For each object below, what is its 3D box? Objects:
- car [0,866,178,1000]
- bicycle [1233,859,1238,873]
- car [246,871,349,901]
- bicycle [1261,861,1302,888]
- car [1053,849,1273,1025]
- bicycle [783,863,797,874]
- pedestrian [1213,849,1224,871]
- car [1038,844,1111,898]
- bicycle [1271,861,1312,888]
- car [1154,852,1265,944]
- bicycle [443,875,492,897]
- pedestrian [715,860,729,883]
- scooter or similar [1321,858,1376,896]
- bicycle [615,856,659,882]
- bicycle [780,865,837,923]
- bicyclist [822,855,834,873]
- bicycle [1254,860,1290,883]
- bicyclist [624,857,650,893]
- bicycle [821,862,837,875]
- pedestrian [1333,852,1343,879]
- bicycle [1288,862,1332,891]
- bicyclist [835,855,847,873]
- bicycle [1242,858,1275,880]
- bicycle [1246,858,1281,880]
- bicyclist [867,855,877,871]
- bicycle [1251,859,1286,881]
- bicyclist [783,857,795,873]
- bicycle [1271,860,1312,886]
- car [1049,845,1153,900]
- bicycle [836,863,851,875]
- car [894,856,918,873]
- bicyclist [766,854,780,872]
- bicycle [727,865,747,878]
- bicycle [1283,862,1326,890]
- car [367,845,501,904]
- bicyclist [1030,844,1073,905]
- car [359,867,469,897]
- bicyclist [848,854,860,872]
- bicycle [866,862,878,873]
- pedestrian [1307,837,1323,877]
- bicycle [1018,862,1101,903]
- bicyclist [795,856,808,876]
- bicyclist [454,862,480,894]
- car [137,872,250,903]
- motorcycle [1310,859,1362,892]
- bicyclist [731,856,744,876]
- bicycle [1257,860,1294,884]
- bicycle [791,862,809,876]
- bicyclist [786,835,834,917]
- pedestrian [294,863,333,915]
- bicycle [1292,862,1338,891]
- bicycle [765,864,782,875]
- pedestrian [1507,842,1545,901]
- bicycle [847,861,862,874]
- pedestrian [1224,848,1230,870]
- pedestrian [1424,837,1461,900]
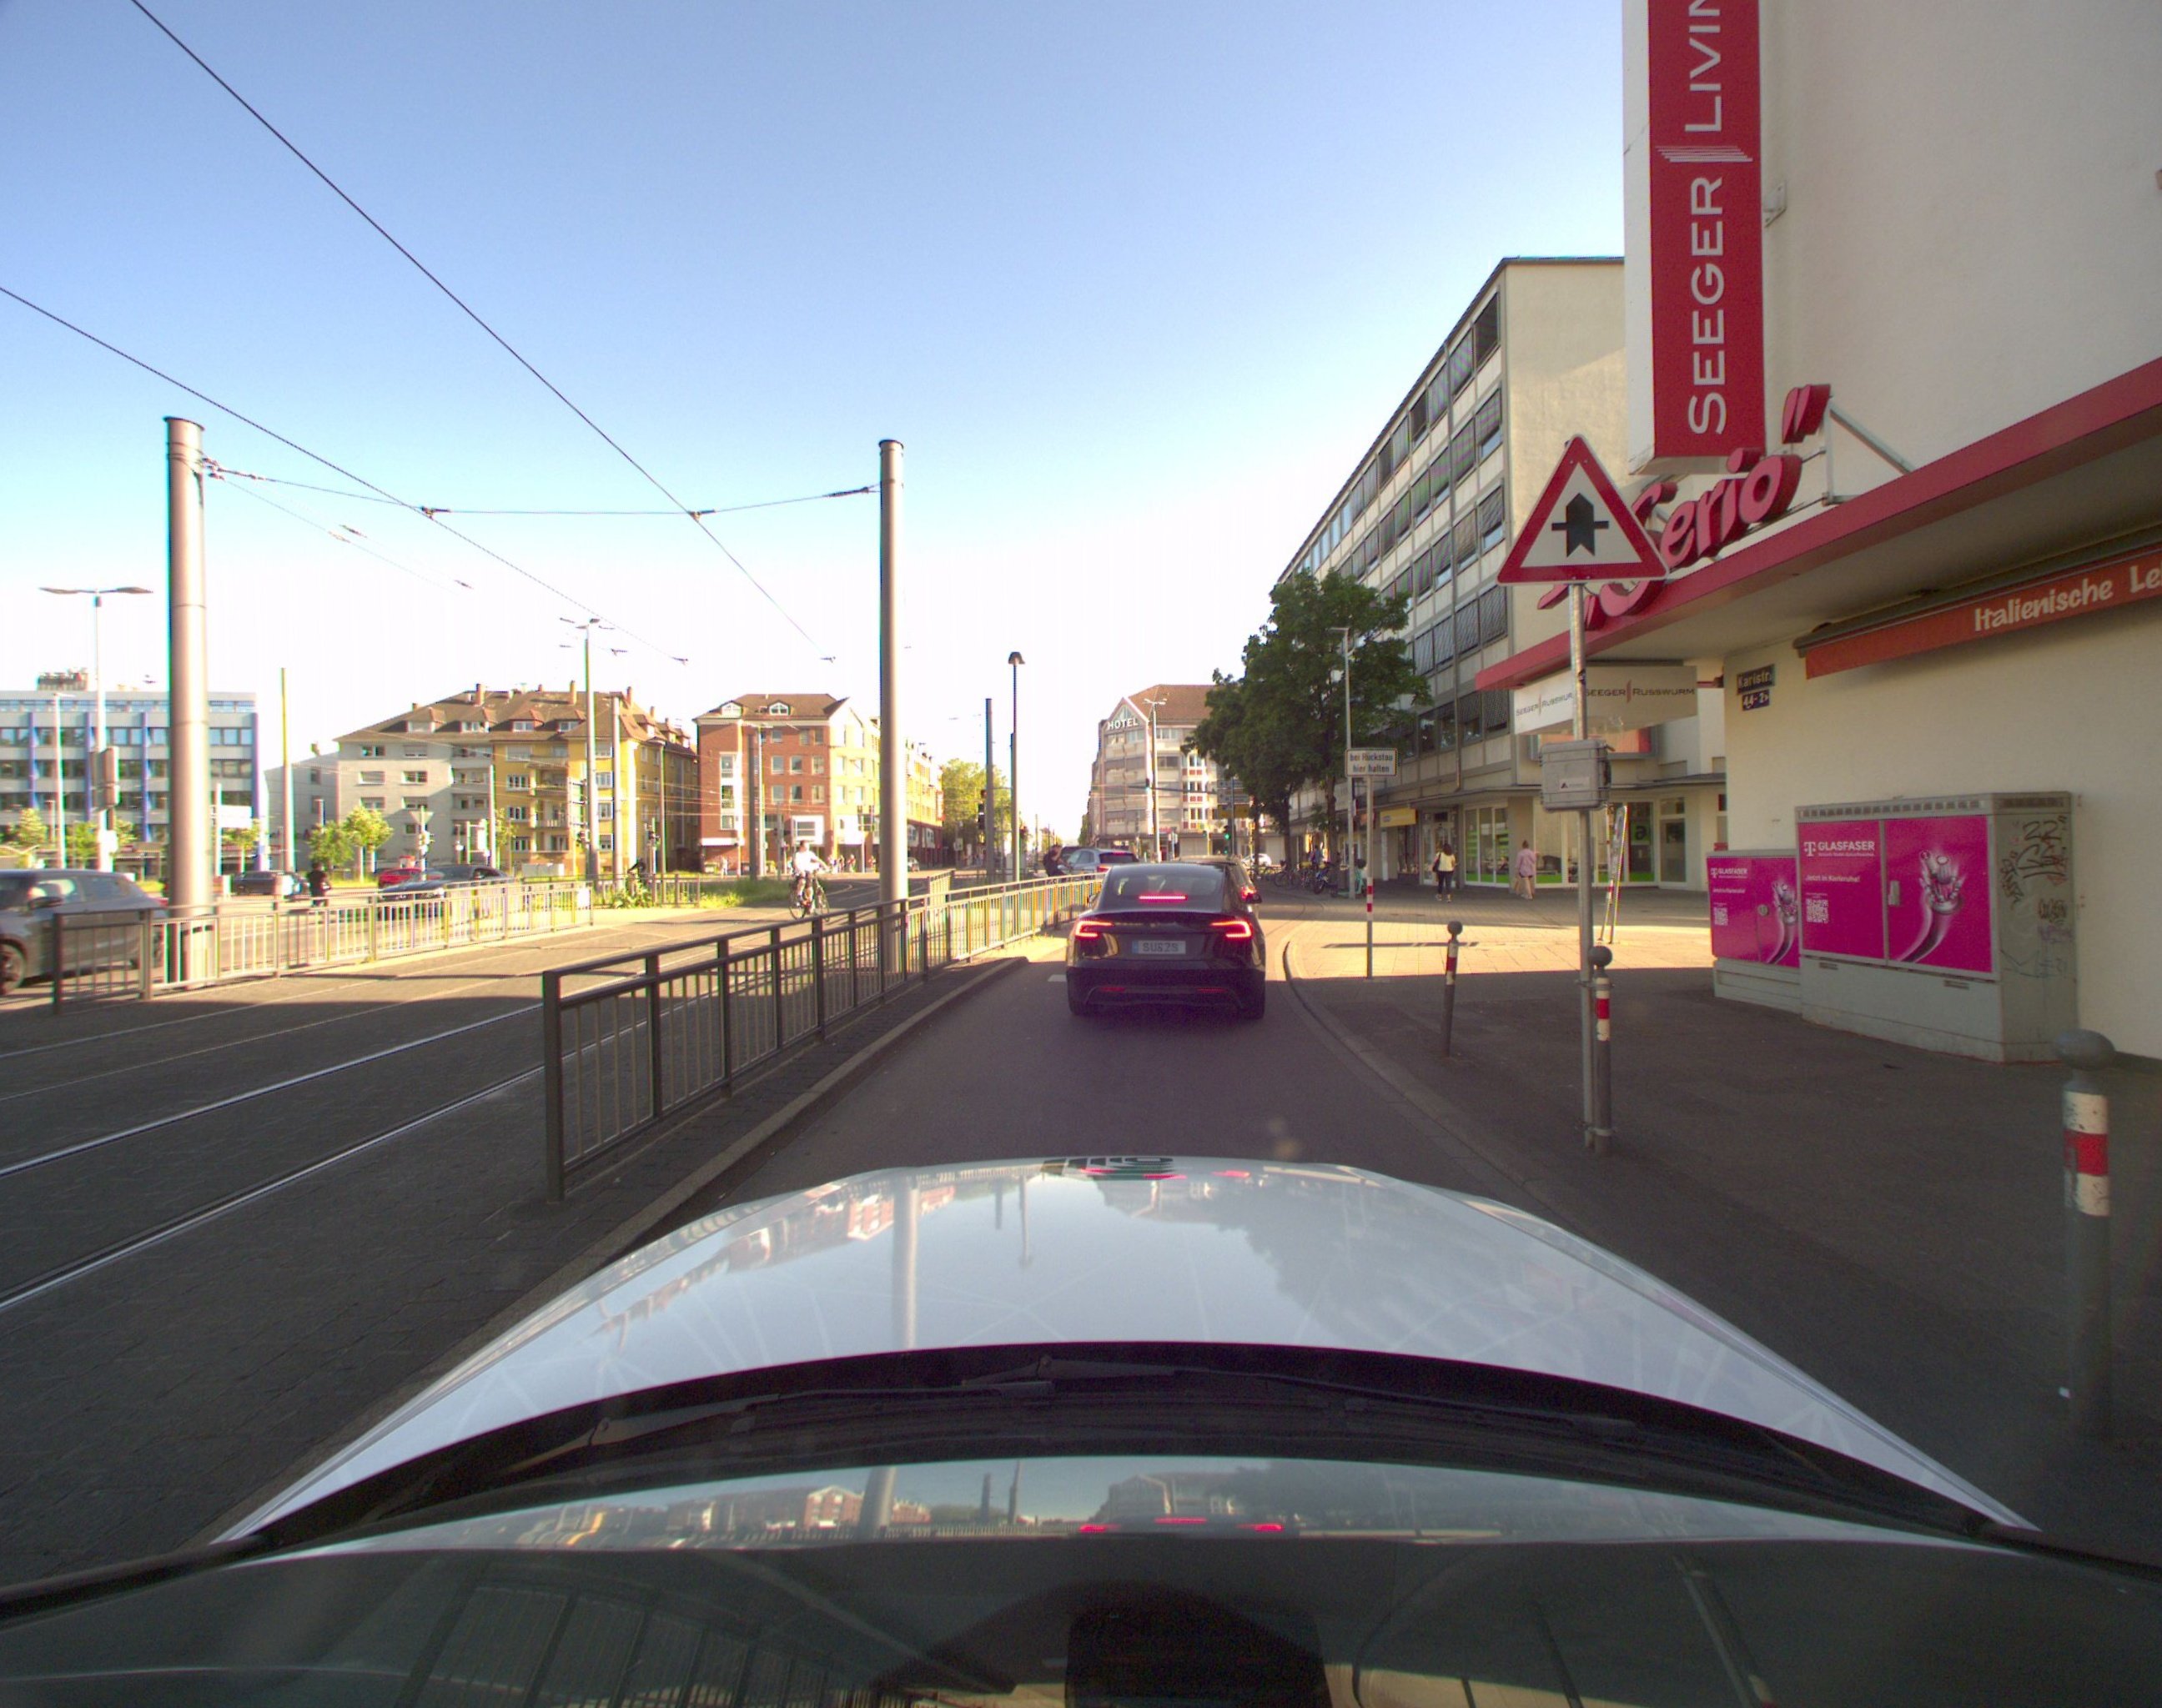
[{"bbox_3d":[-13.634,0.925,10.203,1.647,1.526,3.835,0,-1,-24],"label":"car"},{"bbox_3d":[11.939,0.907,63.056,0.330,1.034,1.259,-1,-1,7],"label":"bicycle"},{"bbox_3d":[-45.500,1.839,47.383,3.984,1.672,1.772,0,-1,-8],"label":"car"},{"bbox_3d":[8.425,0.851,34.198,1.649,1.099,0.349,0,-1,-9],"label":"bicycle"},{"bbox_3d":[0.914,0.705,8.795,1.820,1.455,4.007,0,-1,7],"label":"car"},{"bbox_3d":[-26.838,1.359,75.084,0.402,0.981,1.699,-1,-1,10],"label":"bicycle"},{"bbox_3d":[10.691,0.472,63.290,0.697,1.662,0.777,0,-1,1],"label":"pedestrian"},{"bbox_3d":[-0.323,0.663,32.745,1.997,2.014,3.980,-1,0,-15],"label":"car"},{"bbox_3d":[8.612,0.844,33.331,1.649,1.099,0.349,0,-1,-9],"label":"bicycle"},{"bbox_3d":[2.348,0.706,15.033,1.741,1.454,4.009,-1,0,8],"label":"car"},{"bbox_3d":[-34.576,1.812,45.904,2.188,1.214,0.544,0,-1,-11],"label":"bicycle"},{"bbox_3d":[-28.659,1.387,65.000,0.780,1.820,0.747,0,-1,3],"label":"pedestrian"},{"bbox_3d":[8.894,0.760,27.110,1.625,1.215,0.649,-1,-1,32],"label":"scooter or similar"},{"bbox_3d":[-18.990,0.623,34.872,0.456,1.093,2.205,0,-1,6],"label":"bicycle"},{"bbox_3d":[-6.049,0.857,18.042,0.488,1.222,1.832,0,-1,-43],"label":"bicycle"},{"bbox_3d":[-22.351,0.898,72.059,0.780,1.563,0.747,-1,0,3],"label":"bicyclist"},{"bbox_3d":[9.200,0.838,39.249,1.643,1.099,0.350,0,-1,3],"label":"bicycle"},{"bbox_3d":[-18.994,0.904,34.839,0.782,1.527,0.589,0,-1,4],"label":"bicyclist"},{"bbox_3d":[-22.333,1.281,72.170,0.527,1.088,2.286,-1,0,4],"label":"bicycle"},{"bbox_3d":[12.769,0.572,40.473,0.388,1.343,0.513,0,-1,4],"label":"pedestrian"},{"bbox_3d":[8.812,0.862,31.373,1.649,1.061,0.349,0,-1,-9],"label":"bicycle"},{"bbox_3d":[-22.087,0.921,75.032,0.780,1.563,0.747,-1,0,3],"label":"bicyclist"},{"bbox_3d":[9.239,0.787,42.404,1.643,1.099,0.350,0,-1,3],"label":"bicycle"},{"bbox_3d":[9.258,0.757,41.309,1.643,1.099,0.350,-1,0,3],"label":"bicycle"},{"bbox_3d":[-20.602,0.906,80.211,0.780,1.563,0.747,0,-1,3],"label":"bicyclist"},{"bbox_3d":[9.275,0.794,40.262,1.643,1.099,0.350,0,-1,3],"label":"bicycle"},{"bbox_3d":[-26.867,1.013,74.952,0.699,1.471,0.975,-1,0,9],"label":"bicyclist"},{"bbox_3d":[9.113,0.828,35.269,1.643,1.099,0.350,0,-1,3],"label":"bicycle"},{"bbox_3d":[0.567,0.566,26.630,1.891,1.662,4.126,0,-1,-23],"label":"car"},{"bbox_3d":[-22.014,1.355,75.583,0.527,1.088,2.286,0,-1,4],"label":"bicycle"},{"bbox_3d":[-18.286,1.067,85.371,1.692,1.731,3.706,0,-1,0],"label":"car"},{"bbox_3d":[-25.954,0.793,68.701,0.895,1.503,0.696,0,-1,1],"label":"bicyclist"},{"bbox_3d":[-26.045,1.328,61.677,0.445,0.972,2.247,0,-1,2],"label":"bicycle"},{"bbox_3d":[8.726,0.856,31.799,1.649,1.099,0.349,0,-1,-9],"label":"bicycle"},{"bbox_3d":[-18.185,0.537,23.116,1.716,1.527,4.010,0,-1,-19],"label":"car"},{"bbox_3d":[-0.825,0.544,22.382,0.763,1.628,0.967,0,-1,-37],"label":"bicyclist"},{"bbox_3d":[-39.522,1.654,48.368,4.585,1.700,1.993,0,-1,-10],"label":"car"},{"bbox_3d":[-20.624,0.834,74.019,0.780,1.563,0.747,-1,0,3],"label":"bicyclist"},{"bbox_3d":[-20.589,1.334,80.193,0.527,1.088,2.227,0,-1,4],"label":"bicycle"},{"bbox_3d":[11.819,0.169,41.074,0.659,2.014,0.580,0,-1,4],"label":"pedestrian"},{"bbox_3d":[-0.568,0.770,22.559,2.346,1.053,0.624,0,-1,-36],"label":"bicycle"},{"bbox_3d":[-22.442,0.973,65.386,0.780,1.563,0.747,0,-1,3],"label":"bicyclist"},{"bbox_3d":[-34.611,1.332,45.906,0.901,1.808,0.788,0,-1,-11],"label":"bicyclist"},{"bbox_3d":[-50.660,1.879,46.559,3.952,1.685,1.903,0,-1,-11],"label":"car"},{"bbox_3d":[9.140,0.765,29.180,1.701,1.173,0.541,0,-1,0],"label":"motorcycle"},{"bbox_3d":[-26.039,0.918,61.739,0.631,1.503,0.696,0,-1,1],"label":"bicyclist"},{"bbox_3d":[9.135,0.833,38.223,1.643,1.099,0.350,0,-1,3],"label":"bicycle"},{"bbox_3d":[-22.464,1.205,65.110,0.535,1.088,2.227,0,-1,4],"label":"bicycle"},{"bbox_3d":[-5.999,0.475,18.002,0.763,1.759,0.744,0,-1,-43],"label":"bicyclist"},{"bbox_3d":[-25.443,1.140,27.013,0.776,1.681,0.587,0,-1,-26],"label":"pedestrian"},{"bbox_3d":[8.890,0.856,30.949,1.649,1.099,0.349,0,-1,-9],"label":"bicycle"},{"bbox_3d":[-25.964,1.297,68.763,0.522,0.972,2.247,0,-1,2],"label":"bicycle"},{"bbox_3d":[12.813,0.499,23.467,0.881,1.667,0.813,-1,-1,25],"label":"pedestrian"},{"bbox_3d":[-20.582,1.224,74.017,0.527,1.088,2.227,-1,0,4],"label":"bicycle"},{"bbox_3d":[11.344,0.399,63.369,0.400,1.710,0.529,-1,-1,9],"label":"pedestrian"},{"bbox_3d":[10.500,0.413,23.641,0.906,1.752,1.044,-1,0,25],"label":"pedestrian"}]
